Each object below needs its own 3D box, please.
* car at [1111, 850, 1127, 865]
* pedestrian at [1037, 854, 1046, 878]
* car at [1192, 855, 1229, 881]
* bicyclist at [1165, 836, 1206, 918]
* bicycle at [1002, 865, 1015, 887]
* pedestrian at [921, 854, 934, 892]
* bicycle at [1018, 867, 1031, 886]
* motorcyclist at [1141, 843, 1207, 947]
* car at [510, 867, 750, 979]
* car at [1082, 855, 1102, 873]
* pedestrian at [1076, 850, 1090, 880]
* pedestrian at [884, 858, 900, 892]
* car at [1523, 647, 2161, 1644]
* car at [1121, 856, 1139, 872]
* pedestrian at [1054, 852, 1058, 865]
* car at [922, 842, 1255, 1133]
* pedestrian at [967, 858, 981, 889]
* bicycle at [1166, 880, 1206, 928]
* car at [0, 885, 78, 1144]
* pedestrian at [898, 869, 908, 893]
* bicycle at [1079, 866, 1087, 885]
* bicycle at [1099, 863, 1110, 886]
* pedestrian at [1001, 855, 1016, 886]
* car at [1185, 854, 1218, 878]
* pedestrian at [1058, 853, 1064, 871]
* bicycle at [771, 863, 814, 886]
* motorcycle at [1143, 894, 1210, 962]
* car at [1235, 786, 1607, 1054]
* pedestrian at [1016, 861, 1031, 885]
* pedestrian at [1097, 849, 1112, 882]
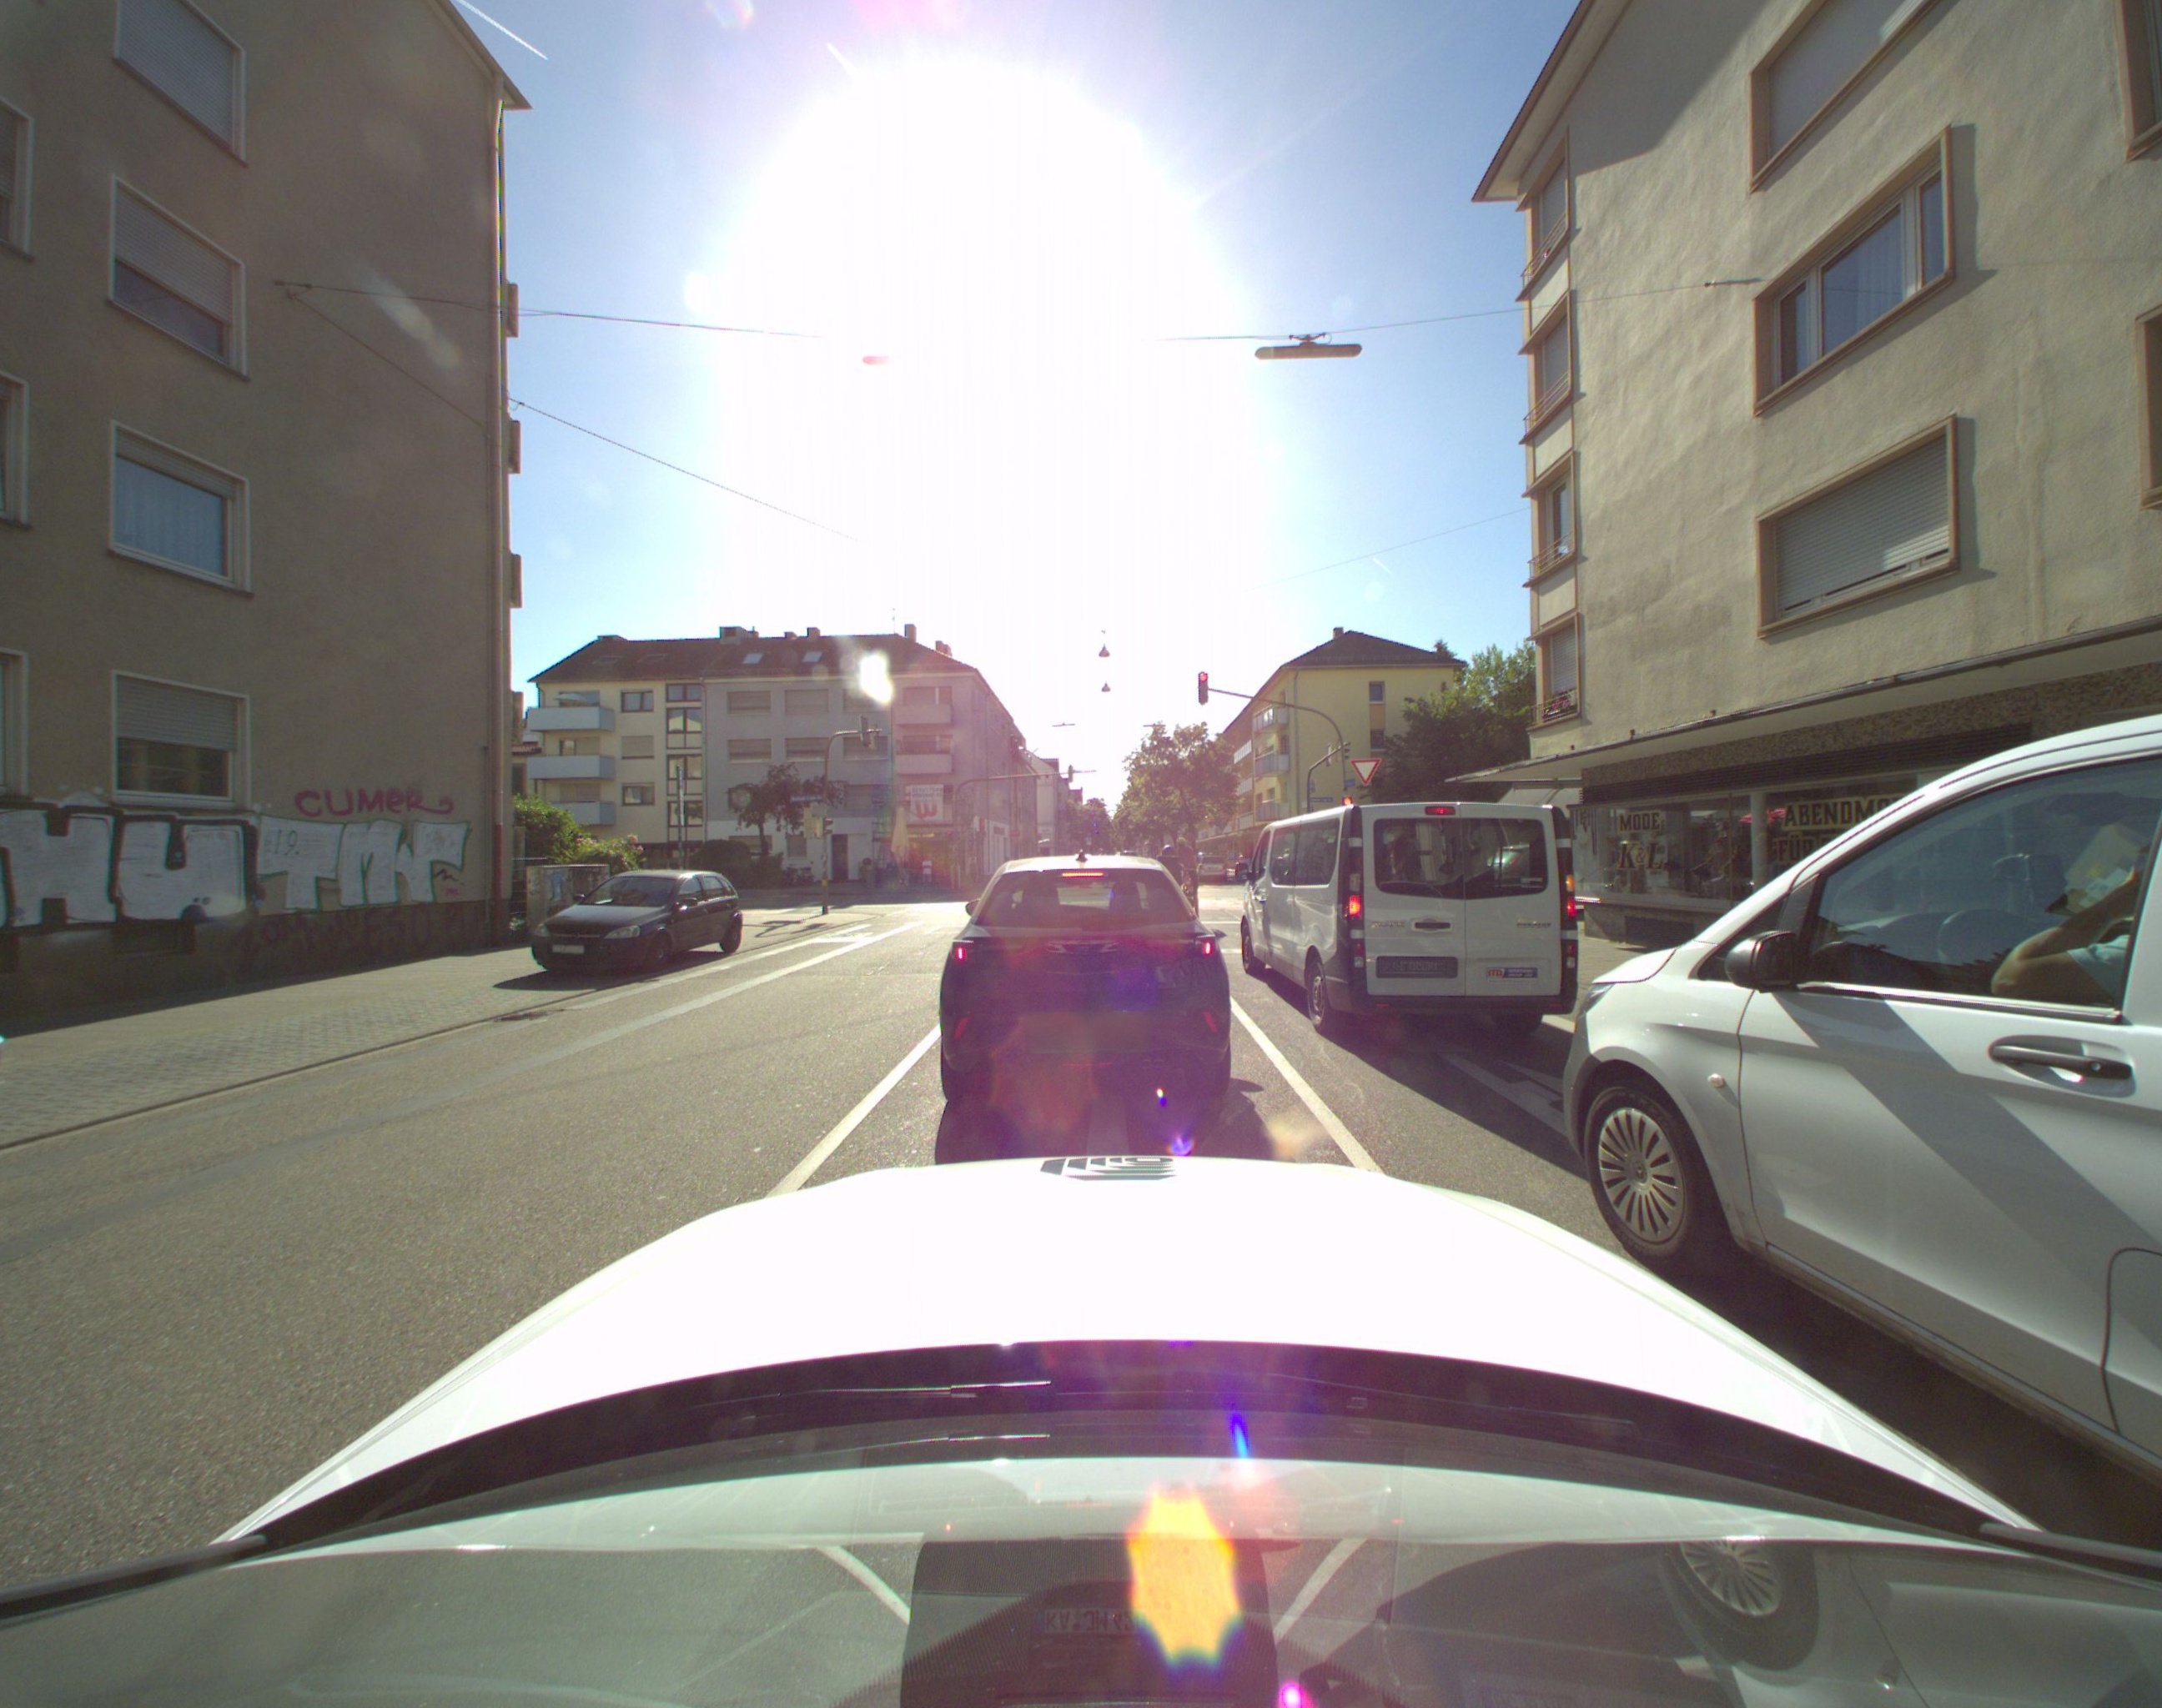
[{"bbox_3d":[4.731,0.412,101.475,1.894,1.728,4.003,-1,0,2],"label":"car"},{"bbox_3d":[-2.786,0.862,57.697,0.568,1.690,0.588,-1,0,1],"label":"pedestrian"},{"bbox_3d":[7.444,0.770,47.223,1.628,1.433,3.958,-1,0,2],"label":"car"},{"bbox_3d":[2.246,0.481,17.672,0.687,1.712,1.414,-1,0,0],"label":"bicyclist"},{"bbox_3d":[-3.930,1.174,44.204,0.520,1.147,2.283,-1,0,0],"label":"bicycle"},{"bbox_3d":[-7.228,0.879,38.365,0.560,1.775,0.582,-1,0,-7],"label":"pedestrian"},{"bbox_3d":[-3.072,1.198,44.211,0.520,0.992,2.339,-1,0,0],"label":"bicycle"},{"bbox_3d":[1.404,0.602,12.476,0.861,1.502,1.160,-1,0,1],"label":"motorcyclist"},{"bbox_3d":[-6.806,0.959,12.790,1.610,1.425,3.711,1,0,1],"label":"car"},{"bbox_3d":[1.107,0.970,83.116,1.817,1.728,4.004,-1,0,3],"label":"car"},{"bbox_3d":[0.110,0.592,43.980,0.678,1.606,0.762,-1,0,0],"label":"pedestrian"},{"bbox_3d":[-8.767,0.969,37.766,0.582,1.521,0.649,-1,0,-1],"label":"pedestrian"},{"bbox_3d":[2.932,0.536,1.210,1.830,1.869,4.995,-1,0,0],"label":"car"},{"bbox_3d":[5.411,1.054,90.299,1.893,1.728,4.078,-1,0,4],"label":"car"},{"bbox_3d":[-3.100,0.590,102.307,0.400,1.675,0.418,-1,0,1],"label":"pedestrian"},{"bbox_3d":[0.045,0.717,6.375,1.765,1.530,3.999,-1,0,0],"label":"car"},{"bbox_3d":[-5.449,0.976,41.479,0.615,1.521,0.724,-1,0,-1],"label":"pedestrian"},{"bbox_3d":[2.267,1.049,17.766,0.575,0.904,2.301,-1,0,0],"label":"bicycle"},{"bbox_3d":[-7.113,0.917,2.612,1.711,1.465,4.817,1,0,2],"label":"car"},{"bbox_3d":[-8.260,1.237,37.797,0.354,1.092,0.461,-1,0,-1],"label":"pedestrian"},{"bbox_3d":[0.106,1.138,44.096,0.442,0.992,2.068,-1,0,0],"label":"bicycle"},{"bbox_3d":[1.213,1.035,42.358,0.520,1.147,2.170,-1,0,0],"label":"bicycle"},{"bbox_3d":[-3.890,0.874,43.774,0.704,1.678,0.802,-1,0,0],"label":"pedestrian"},{"bbox_3d":[7.637,0.753,51.897,1.628,1.433,4.002,-1,0,2],"label":"car"},{"bbox_3d":[-1.830,0.750,75.722,0.486,1.690,0.588,-1,0,1],"label":"pedestrian"},{"bbox_3d":[-15.350,1.073,43.300,2.103,1.172,0.735,-1,0,-22],"label":"bicycle"},{"bbox_3d":[1.394,1.077,12.255,0.822,0.845,1.885,-1,0,1],"label":"motorcycle"},{"bbox_3d":[2.998,0.489,8.519,1.986,1.979,4.897,1,0,2],"label":"car"},{"bbox_3d":[-3.075,1.039,43.787,0.704,1.253,0.802,-1,0,0],"label":"pedestrian"},{"bbox_3d":[1.227,0.587,42.251,0.704,1.701,0.802,-1,0,0],"label":"pedestrian"}]
